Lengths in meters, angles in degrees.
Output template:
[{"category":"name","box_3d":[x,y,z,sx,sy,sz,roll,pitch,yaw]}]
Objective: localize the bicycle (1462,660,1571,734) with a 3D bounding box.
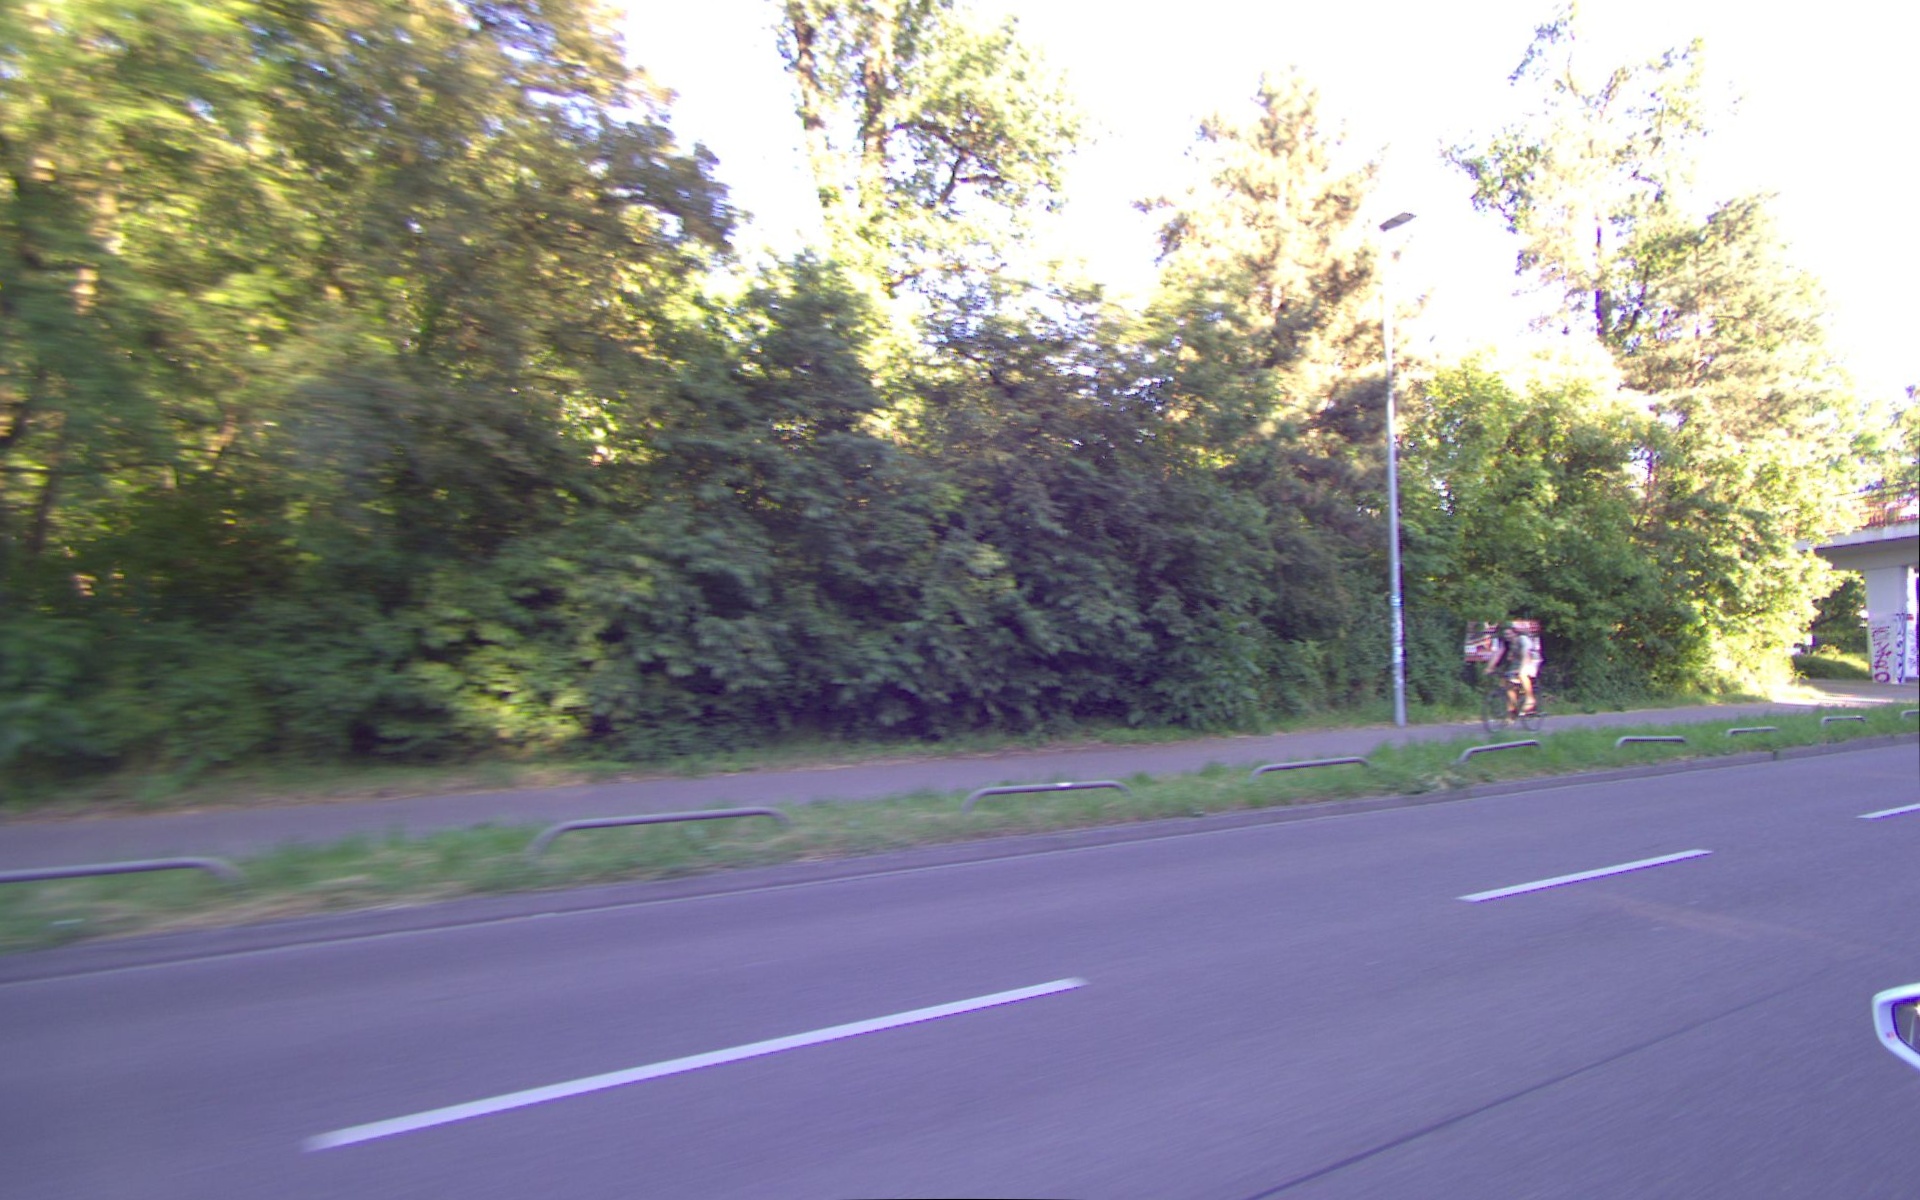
[{"category":"bicycle","box_3d":[9.423,1.618,16.977,1.970,1.162,0.708,2,-1,-31]}]

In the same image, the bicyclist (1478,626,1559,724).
[{"category":"bicyclist","box_3d":[9.439,1.247,16.987,1.129,1.579,0.709,2,-1,-30]}]
